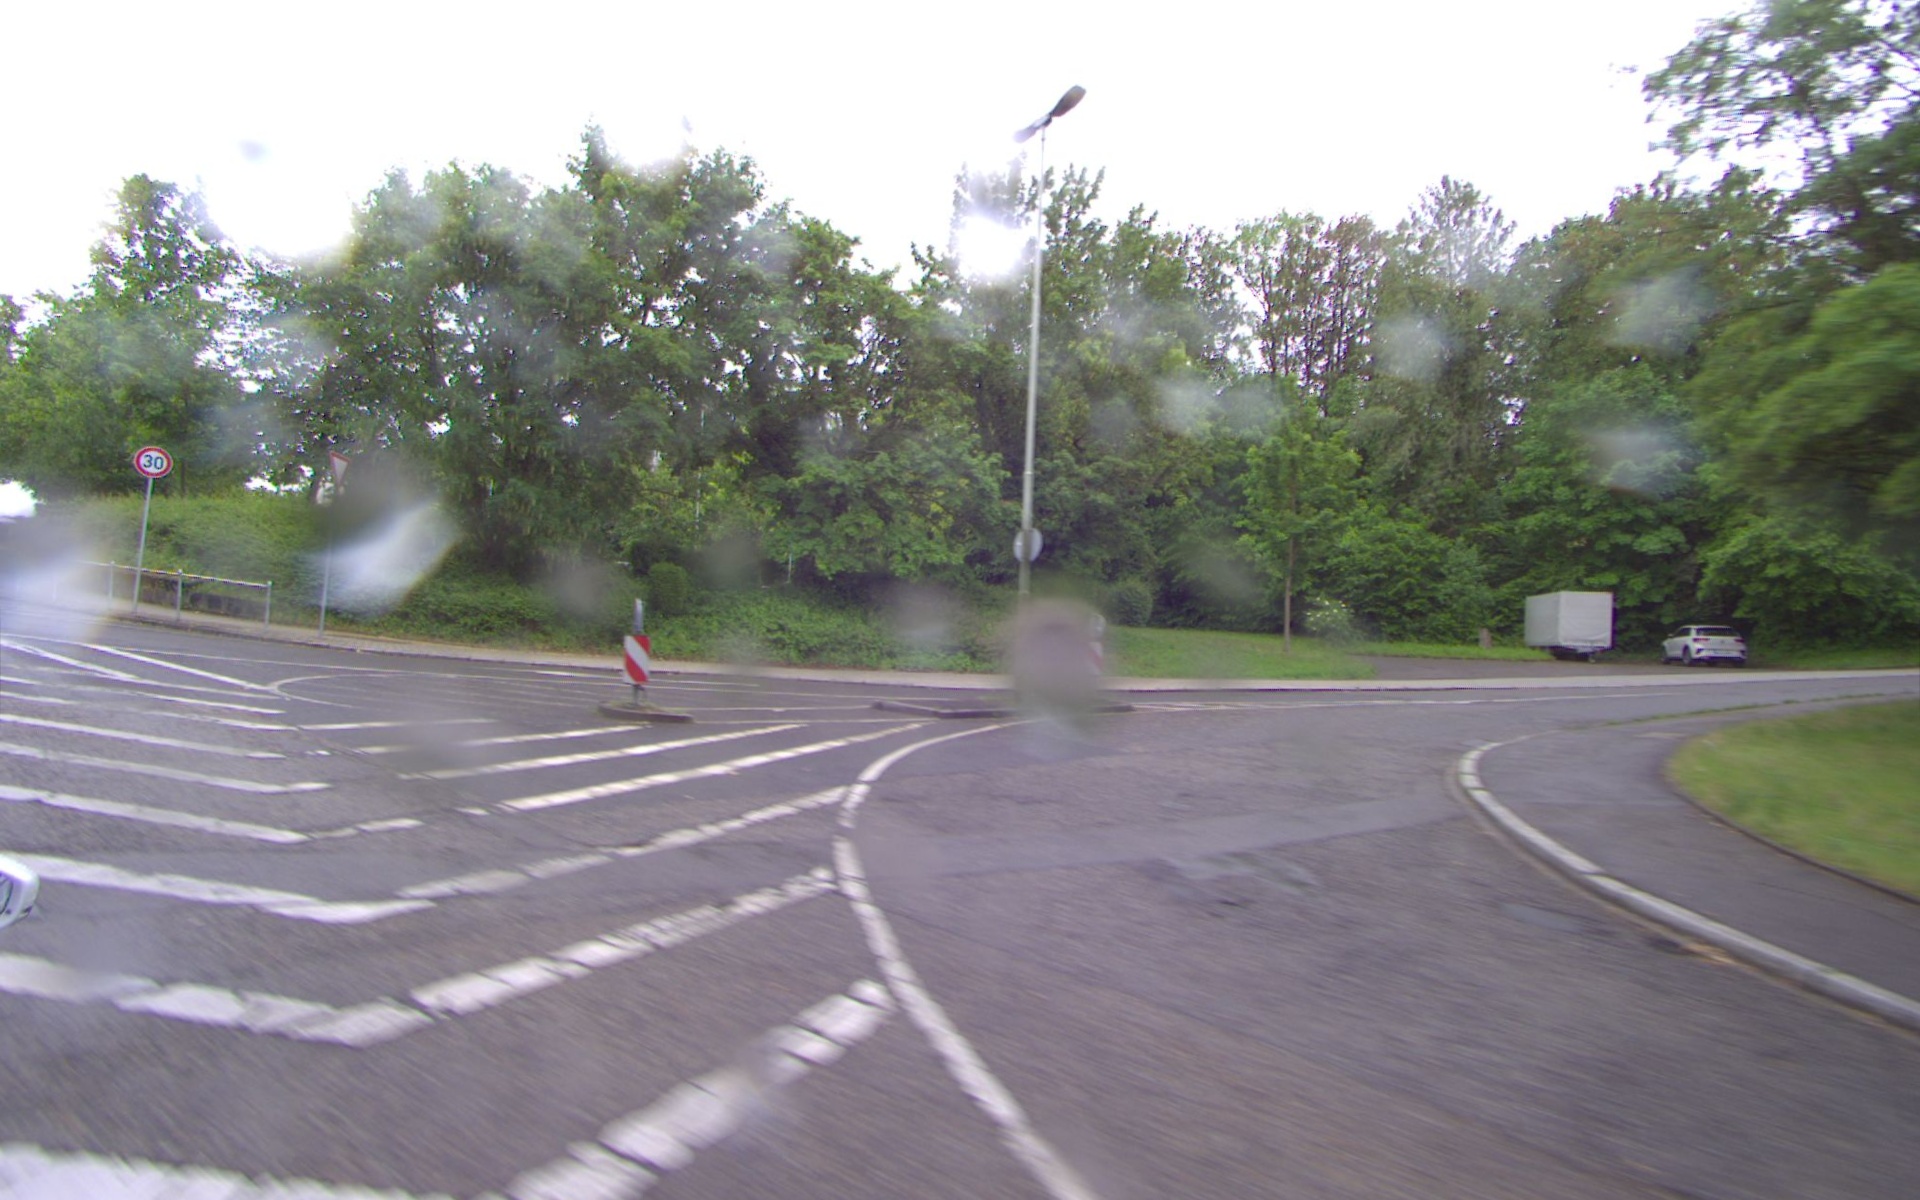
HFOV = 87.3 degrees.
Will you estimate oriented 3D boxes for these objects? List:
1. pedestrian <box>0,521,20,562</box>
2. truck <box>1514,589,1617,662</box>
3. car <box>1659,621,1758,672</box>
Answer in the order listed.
[{"bbox_3d":[-42.082,-2.583,44.101,1.150,1.744,1.081,5,0,42],"label":"pedestrian"},{"bbox_3d":[25.123,1.035,41.969,1.922,2.731,5.574,3,0,14],"label":"truck"},{"bbox_3d":[28.278,1.736,38.140,1.812,1.642,3.619,6,0,18],"label":"car"}]
